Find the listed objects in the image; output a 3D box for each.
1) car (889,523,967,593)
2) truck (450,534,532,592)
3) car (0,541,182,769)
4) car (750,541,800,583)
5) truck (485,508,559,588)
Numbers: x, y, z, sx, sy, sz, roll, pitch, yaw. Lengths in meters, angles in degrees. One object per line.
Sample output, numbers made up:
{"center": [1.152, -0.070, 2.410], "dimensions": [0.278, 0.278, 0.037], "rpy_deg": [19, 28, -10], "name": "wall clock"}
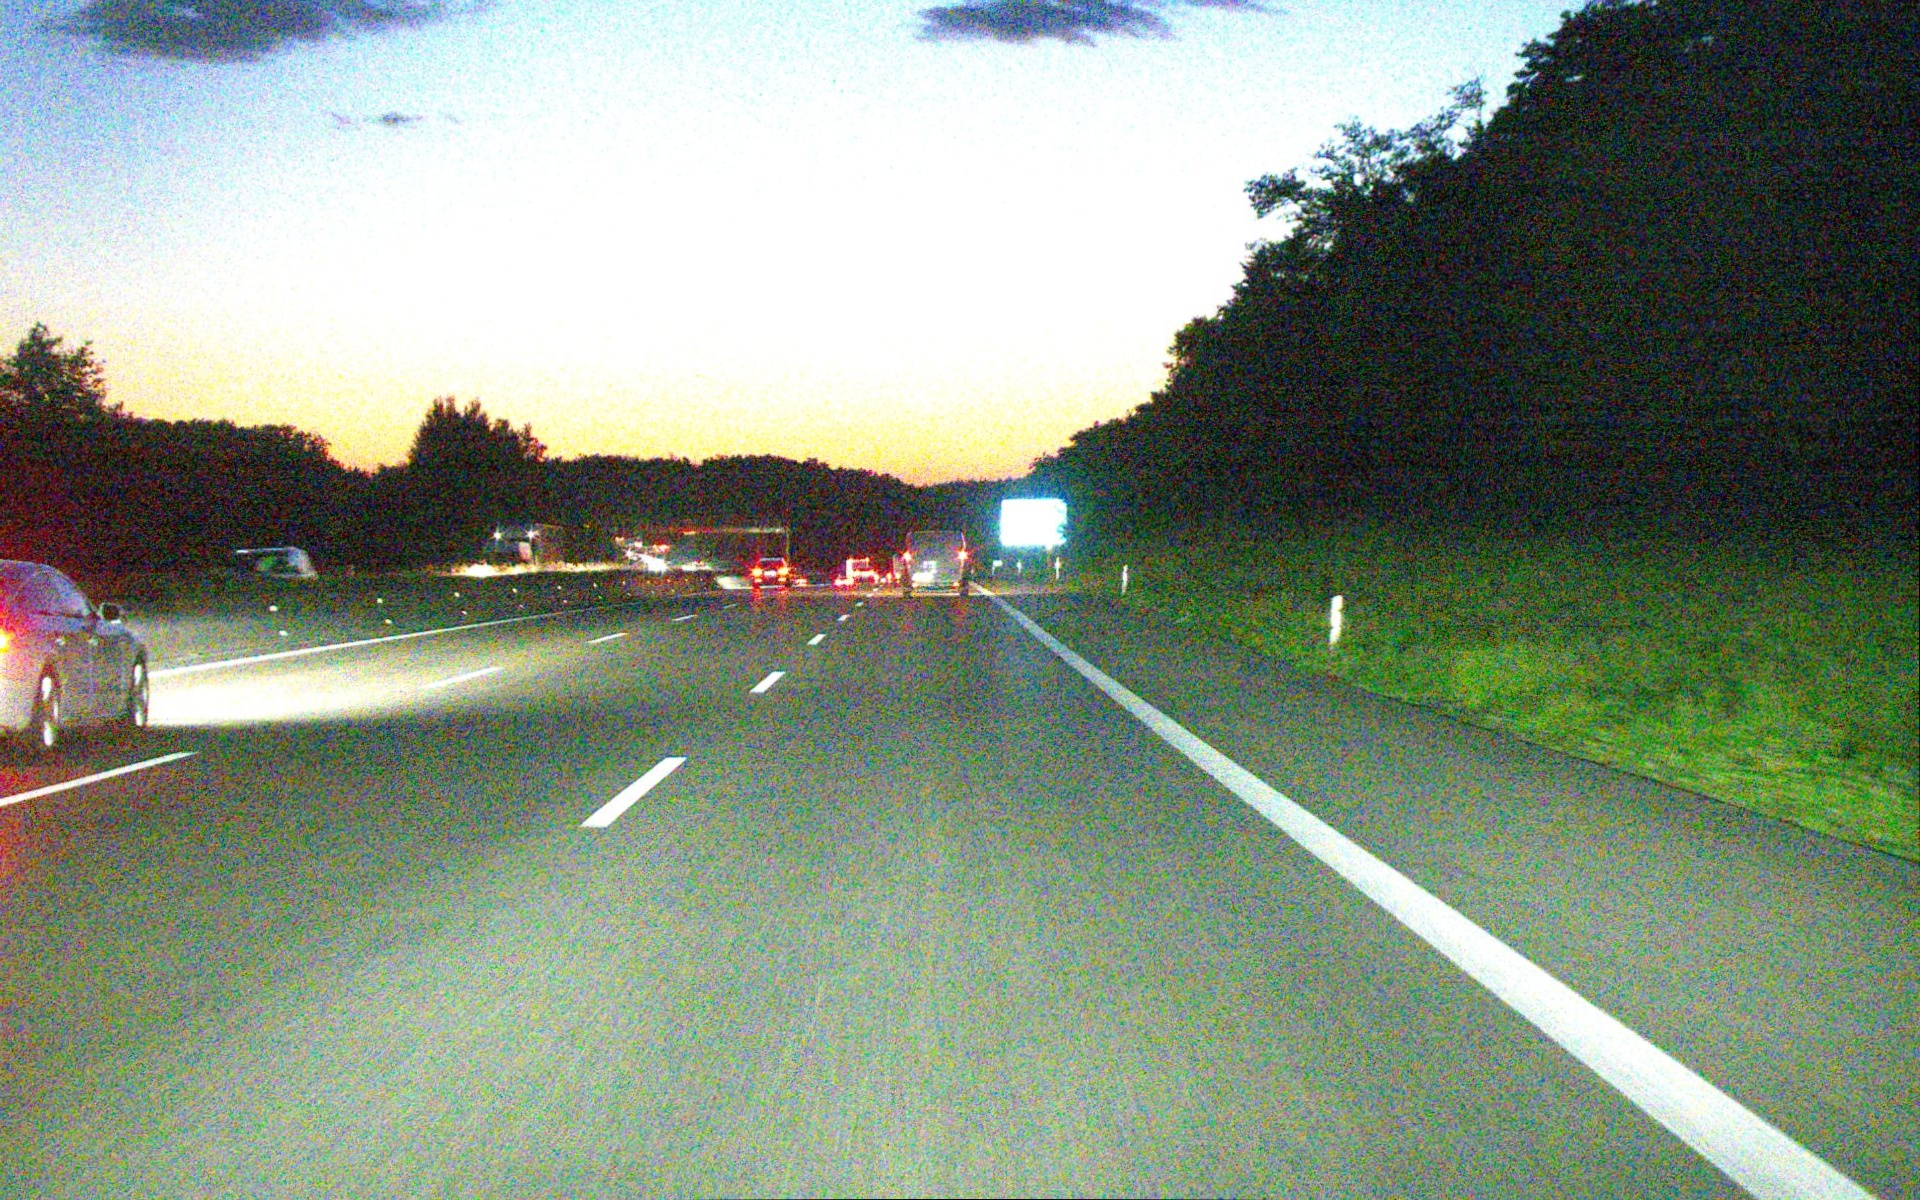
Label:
{"center": [-0.951, -1.271, 102.850], "dimensions": [2.196, 1.948, 4.763], "rpy_deg": [-3, 1, 0], "name": "car"}
{"center": [-22.087, -1.761, 162.362], "dimensions": [2.872, 2.632, 7.886], "rpy_deg": [-1, 1, -1], "name": "truck"}
{"center": [-7.200, 0.314, 25.312], "dimensions": [1.779, 1.482, 5.254], "rpy_deg": [1, 1, 0], "name": "car"}
{"center": [-8.898, -1.845, 165.678], "dimensions": [2.196, 1.949, 4.634], "rpy_deg": [1, 1, 0], "name": "car"}
{"center": [-24.873, -2.968, 195.611], "dimensions": [3.325, 4.418, 6.708], "rpy_deg": [-2, 1, 0], "name": "truck"}
